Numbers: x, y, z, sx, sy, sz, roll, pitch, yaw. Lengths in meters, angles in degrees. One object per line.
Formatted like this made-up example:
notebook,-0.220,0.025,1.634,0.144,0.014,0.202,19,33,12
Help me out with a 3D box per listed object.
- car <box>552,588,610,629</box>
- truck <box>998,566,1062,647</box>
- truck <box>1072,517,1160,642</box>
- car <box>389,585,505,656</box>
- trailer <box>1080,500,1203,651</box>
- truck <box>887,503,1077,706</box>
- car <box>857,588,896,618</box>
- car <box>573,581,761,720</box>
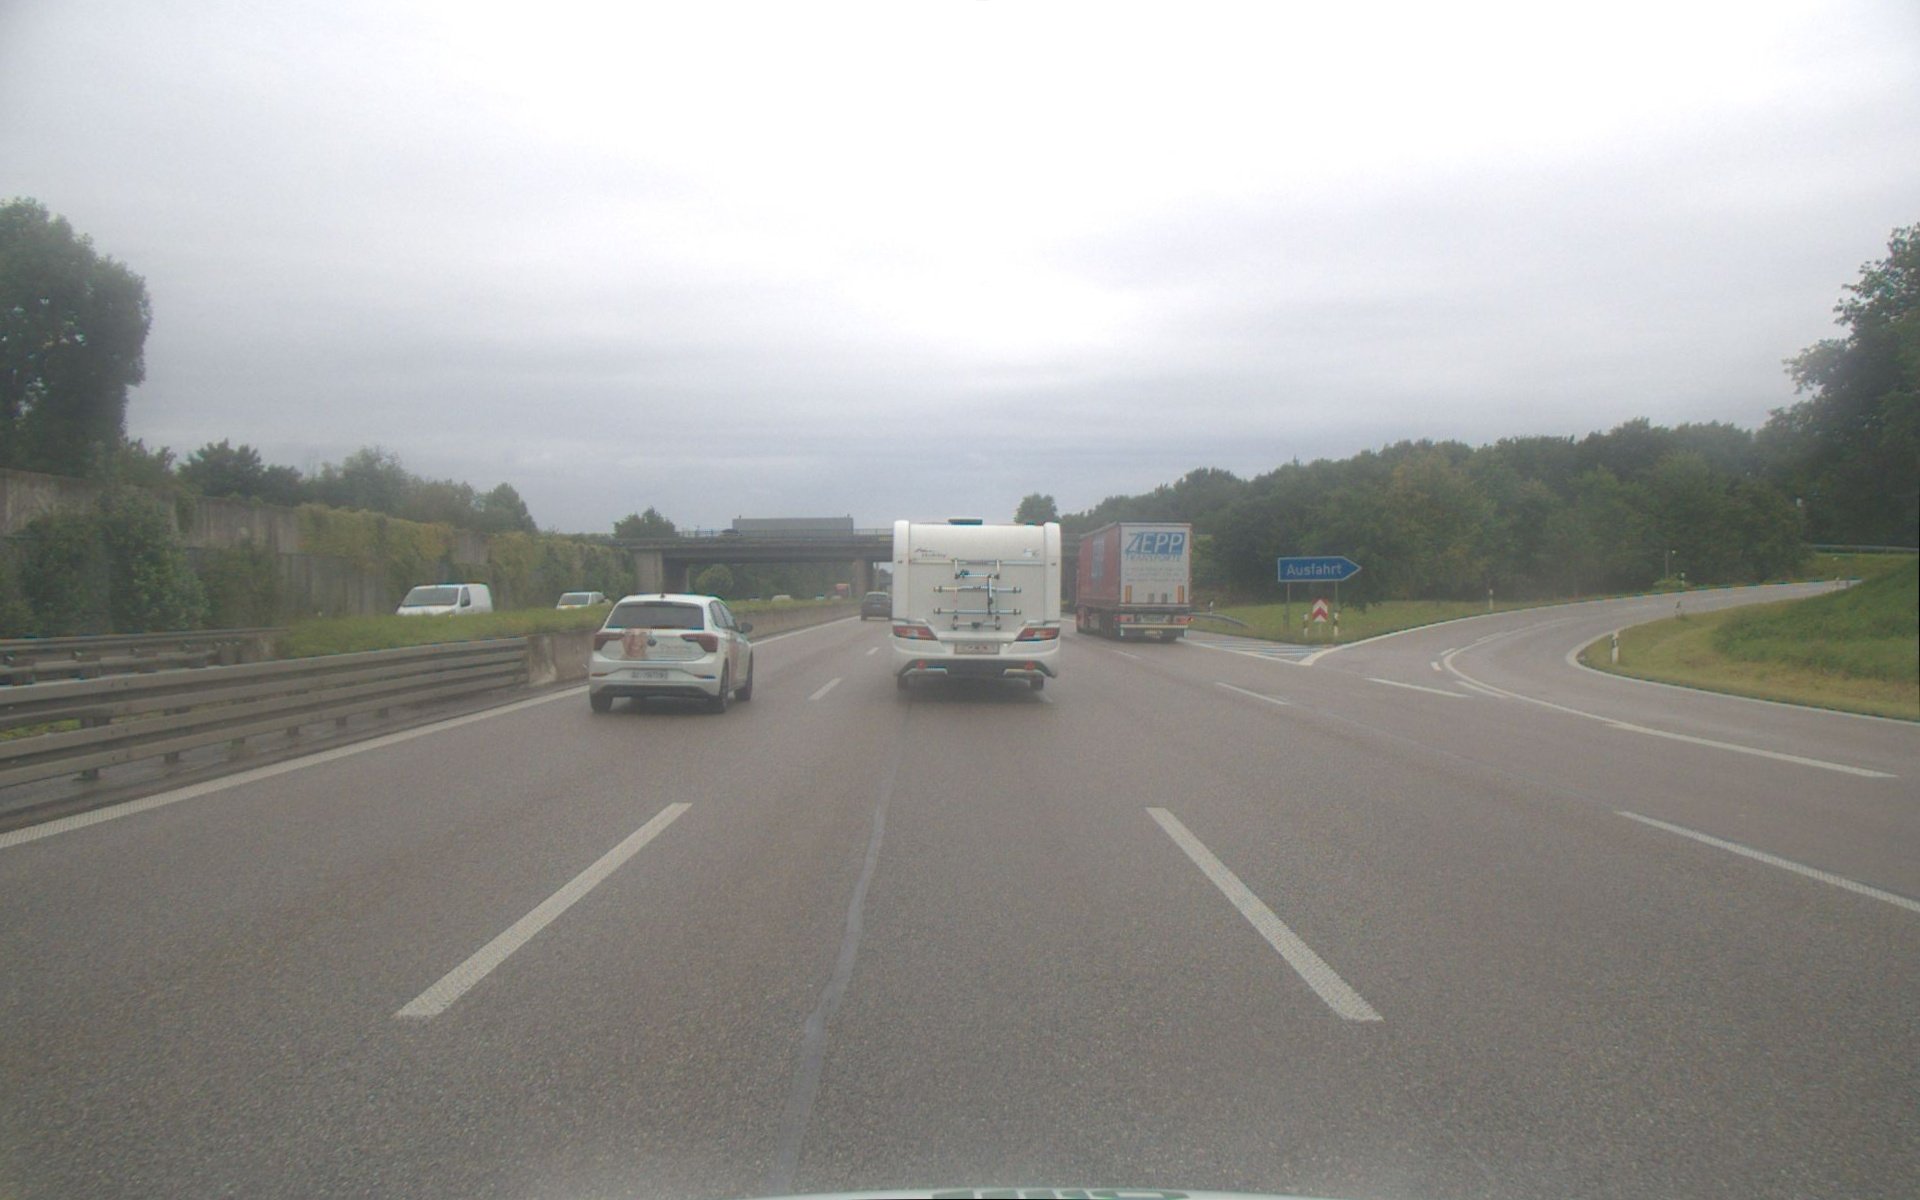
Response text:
car,-19.774,0.439,86.526,1.953,2.049,5.225,1,0,-2
truck,2.524,0.244,60.945,2.011,2.818,5.547,1,0,-1
truck,6.416,-0.813,68.870,2.986,4.924,5.849,1,0,0
car,-15.666,0.594,50.810,2.038,2.049,5.193,0,0,-2
trailer,6.494,-0.799,61.144,3.037,5.008,11.788,1,0,-1
truck,0.263,0.069,25.651,2.607,2.790,5.076,1,0,-1
car,-4.773,0.168,94.669,1.953,1.628,5.123,1,0,0
car,-3.755,0.592,21.958,1.717,1.646,4.663,0,0,-1
